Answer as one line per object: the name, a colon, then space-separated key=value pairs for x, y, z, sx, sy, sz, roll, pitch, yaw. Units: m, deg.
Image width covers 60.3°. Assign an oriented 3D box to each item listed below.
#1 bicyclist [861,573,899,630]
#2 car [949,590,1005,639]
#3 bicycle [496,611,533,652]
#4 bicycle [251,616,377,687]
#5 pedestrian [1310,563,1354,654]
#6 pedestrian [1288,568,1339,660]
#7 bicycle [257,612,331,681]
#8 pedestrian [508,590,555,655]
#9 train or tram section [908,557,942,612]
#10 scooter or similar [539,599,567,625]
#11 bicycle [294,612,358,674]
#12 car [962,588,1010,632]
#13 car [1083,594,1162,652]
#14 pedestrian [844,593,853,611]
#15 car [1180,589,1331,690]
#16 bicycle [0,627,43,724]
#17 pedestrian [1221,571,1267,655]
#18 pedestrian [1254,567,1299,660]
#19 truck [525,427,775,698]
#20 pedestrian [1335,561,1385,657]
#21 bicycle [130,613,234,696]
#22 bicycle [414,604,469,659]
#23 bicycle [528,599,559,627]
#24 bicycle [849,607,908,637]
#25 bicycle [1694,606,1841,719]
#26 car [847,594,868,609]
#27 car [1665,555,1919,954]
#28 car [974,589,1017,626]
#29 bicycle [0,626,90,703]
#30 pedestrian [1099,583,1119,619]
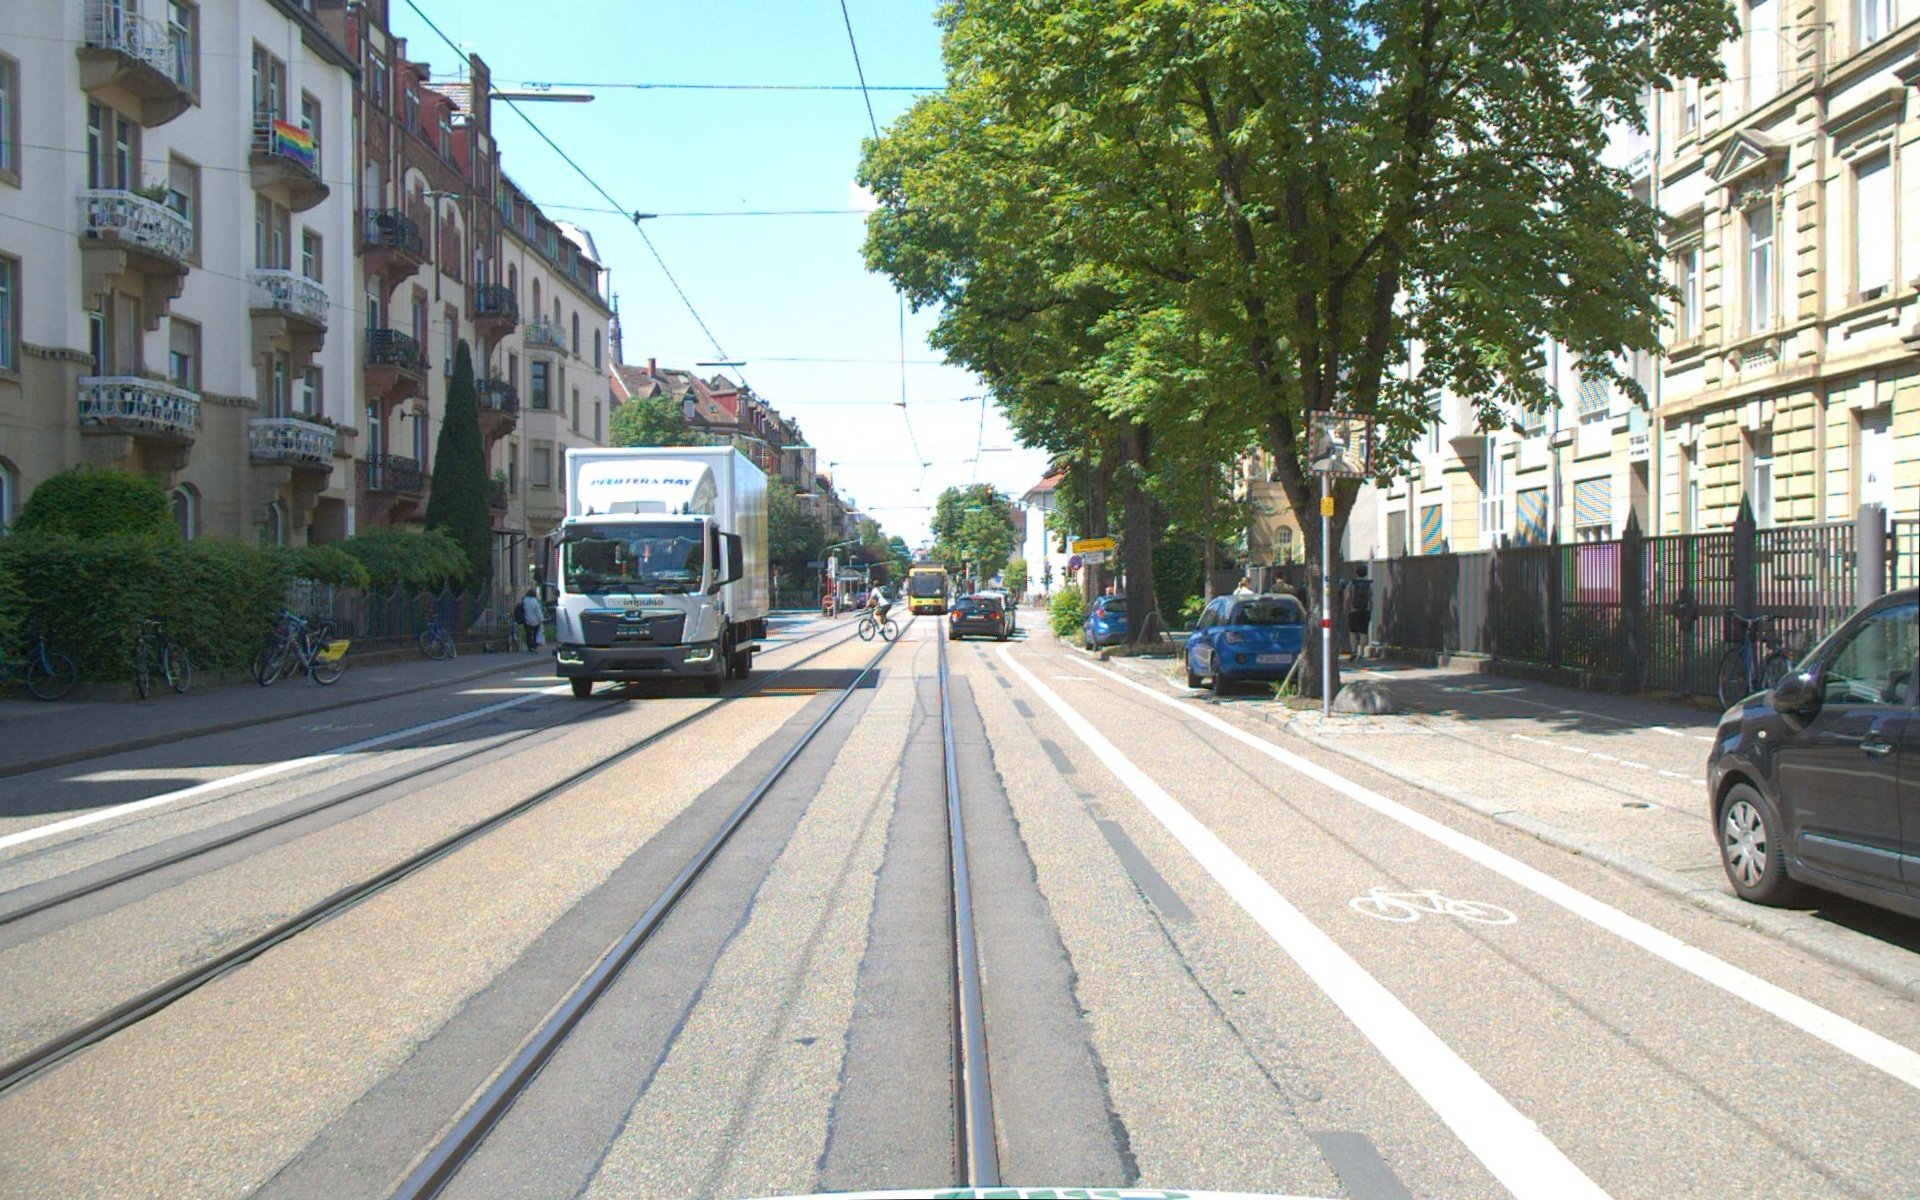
bicyclist: x=-2.424 y=0.053 z=50.086 sx=0.816 sy=1.692 sz=0.754 roll=0 pitch=-1 yaw=41
car: x=0.561 y=0.435 z=52.803 sx=1.687 sy=1.433 sz=4.565 roll=2 pitch=0 yaw=1
bicycle: x=-11.061 y=0.767 z=41.118 sx=0.402 sy=0.977 sz=1.841 roll=3 pitch=-1 yaw=-1
bicycle: x=-9.892 y=0.767 z=25.370 sx=0.597 sy=1.017 sz=1.769 roll=0 pitch=0 yaw=34
pedestrian: x=7.656 y=0.175 z=34.079 sx=0.647 sy=1.843 sz=0.977 roll=-1 pitch=0 yaw=-1
pedestrian: x=6.997 y=0.273 z=32.767 sx=0.771 sy=1.792 sz=1.052 roll=-1 pitch=0 yaw=-1
bicycle: x=-10.652 y=0.731 z=26.500 sx=0.455 sy=1.016 sz=1.707 roll=3 pitch=0 yaw=-1
pedestrian: x=-10.478 y=0.539 z=40.458 sx=0.882 sy=1.569 sz=0.984 roll=-1 pitch=0 yaw=-1
train or tram section: x=-2.330 y=-1.028 z=111.714 sx=2.146 sy=3.543 sz=8.843 roll=-1 pitch=0 yaw=-1
scooter or similar: x=-16.860 y=0.498 z=68.506 sx=0.690 sy=1.062 sz=1.192 roll=1 pitch=-1 yaw=-41
bicycle: x=-10.846 y=0.714 z=28.320 sx=0.405 sy=0.983 sz=1.725 roll=3 pitch=0 yaw=-1
car: x=0.961 y=0.330 z=59.635 sx=1.650 sy=1.510 sz=3.685 roll=-1 pitch=0 yaw=1
car: x=4.299 y=0.576 z=44.308 sx=1.643 sy=1.469 sz=3.720 roll=-1 pitch=0 yaw=-2
pedestrian: x=-7.856 y=0.123 z=116.819 sx=0.602 sy=1.264 sz=0.627 roll=0 pitch=0 yaw=-7
car: x=4.587 y=0.568 z=26.094 sx=1.657 sy=1.478 sz=3.473 roll=-1 pitch=0 yaw=-2
bicycle: x=-10.594 y=0.822 z=17.653 sx=0.595 sy=0.993 sz=1.771 roll=3 pitch=0 yaw=-1
pedestrian: x=5.807 y=0.257 z=33.871 sx=0.751 sy=1.680 sz=0.974 roll=-1 pitch=0 yaw=-1
pedestrian: x=6.239 y=0.259 z=32.653 sx=0.690 sy=1.807 sz=0.947 roll=-1 pitch=0 yaw=-1
truck: x=-4.703 y=-0.545 z=26.789 sx=2.729 sy=3.683 sz=8.253 roll=-1 pitch=0 yaw=-2
pedestrian: x=7.724 y=0.168 z=31.983 sx=0.670 sy=1.829 sz=1.084 roll=-1 pitch=0 yaw=-1
bicycle: x=-10.845 y=0.740 z=23.110 sx=0.595 sy=1.050 sz=1.771 roll=3 pitch=0 yaw=-1
bicycle: x=-10.998 y=0.648 z=35.144 sx=0.595 sy=1.083 sz=1.771 roll=3 pitch=0 yaw=-1
bicycle: x=-16.711 y=0.516 z=66.359 sx=0.362 sy=1.084 sz=1.464 roll=0 pitch=-1 yaw=22
bicycle: x=-2.473 y=0.657 z=50.229 sx=1.788 sy=0.832 sz=0.750 roll=3 pitch=2 yaw=42
bicycle: x=8.401 y=0.622 z=17.295 sx=0.595 sy=1.090 sz=1.980 roll=-1 pitch=0 yaw=1
car: x=-9.716 y=0.118 z=157.021 sx=1.785 sy=1.438 sz=4.429 roll=0 pitch=0 yaw=0
car: x=4.817 y=0.614 z=7.165 sx=1.695 sy=1.644 sz=4.083 roll=-3 pitch=0 yaw=-1
car: x=1.554 y=0.300 z=71.731 sx=1.656 sy=1.540 sz=3.823 roll=1 pitch=0 yaw=4
bicycle: x=-12.194 y=0.830 z=21.495 sx=1.540 sy=0.944 sz=0.391 roll=2 pitch=0 yaw=-1
pedestrian: x=6.966 y=0.049 z=77.386 sx=0.839 sy=1.674 sz=0.836 roll=-1 pitch=0 yaw=-3
